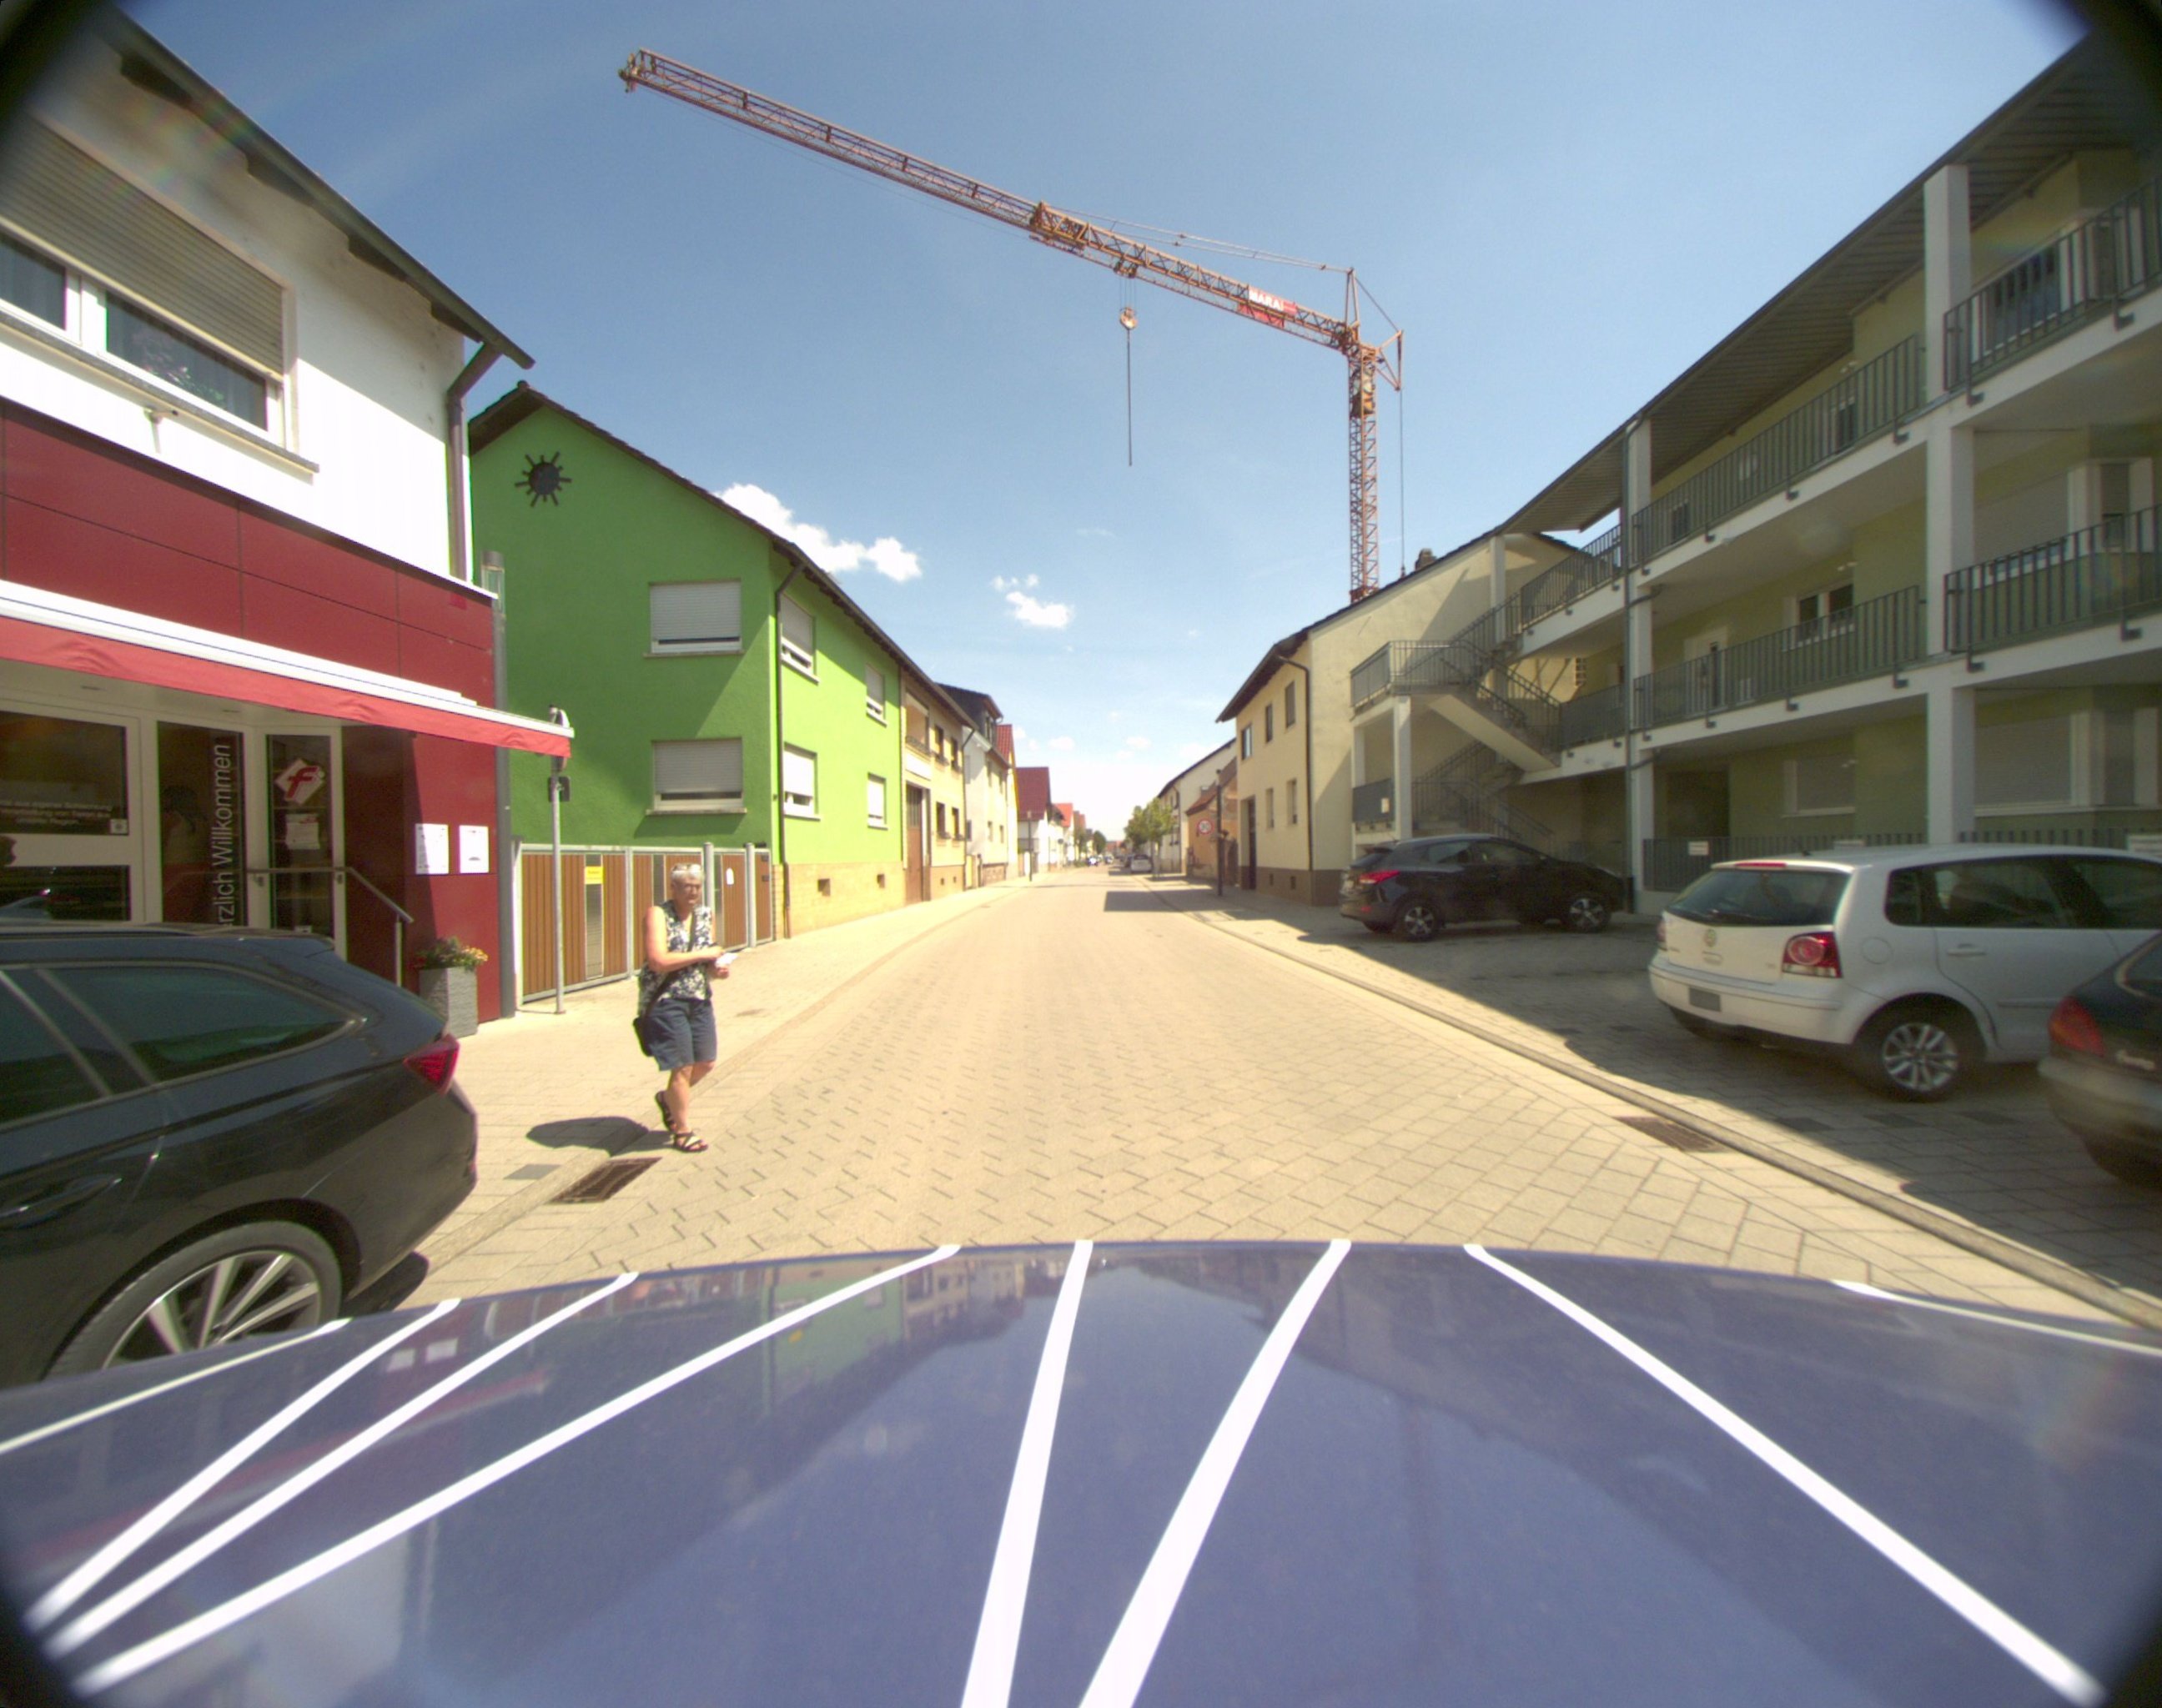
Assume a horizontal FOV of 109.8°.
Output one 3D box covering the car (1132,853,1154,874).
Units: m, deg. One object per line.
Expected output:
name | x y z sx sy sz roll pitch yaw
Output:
car | 4.985 0.730 61.121 1.576 1.552 2.823 -3 0 5

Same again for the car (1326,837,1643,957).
car | 6.496 0.671 12.617 4.229 1.648 1.784 -3 0 3

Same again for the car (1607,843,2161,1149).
car | 6.061 0.778 4.970 3.910 1.494 1.751 -3 0 3

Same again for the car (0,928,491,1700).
car | -3.263 1.029 0.546 1.862 1.450 4.587 1 0 5

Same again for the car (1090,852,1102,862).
car | 2.325 0.476 114.960 1.726 1.420 3.819 -1 0 3

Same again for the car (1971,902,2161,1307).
car | 5.982 0.855 2.491 3.996 1.433 1.691 -4 0 2

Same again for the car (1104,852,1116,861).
car | 5.041 0.430 133.303 1.957 1.521 4.001 -1 0 3

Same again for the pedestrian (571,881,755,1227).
pedestrian | -2.250 0.986 4.166 0.750 1.630 0.730 -3 1 -26

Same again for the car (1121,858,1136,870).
car | 6.238 1.256 99.519 1.752 1.557 3.955 -1 0 1
